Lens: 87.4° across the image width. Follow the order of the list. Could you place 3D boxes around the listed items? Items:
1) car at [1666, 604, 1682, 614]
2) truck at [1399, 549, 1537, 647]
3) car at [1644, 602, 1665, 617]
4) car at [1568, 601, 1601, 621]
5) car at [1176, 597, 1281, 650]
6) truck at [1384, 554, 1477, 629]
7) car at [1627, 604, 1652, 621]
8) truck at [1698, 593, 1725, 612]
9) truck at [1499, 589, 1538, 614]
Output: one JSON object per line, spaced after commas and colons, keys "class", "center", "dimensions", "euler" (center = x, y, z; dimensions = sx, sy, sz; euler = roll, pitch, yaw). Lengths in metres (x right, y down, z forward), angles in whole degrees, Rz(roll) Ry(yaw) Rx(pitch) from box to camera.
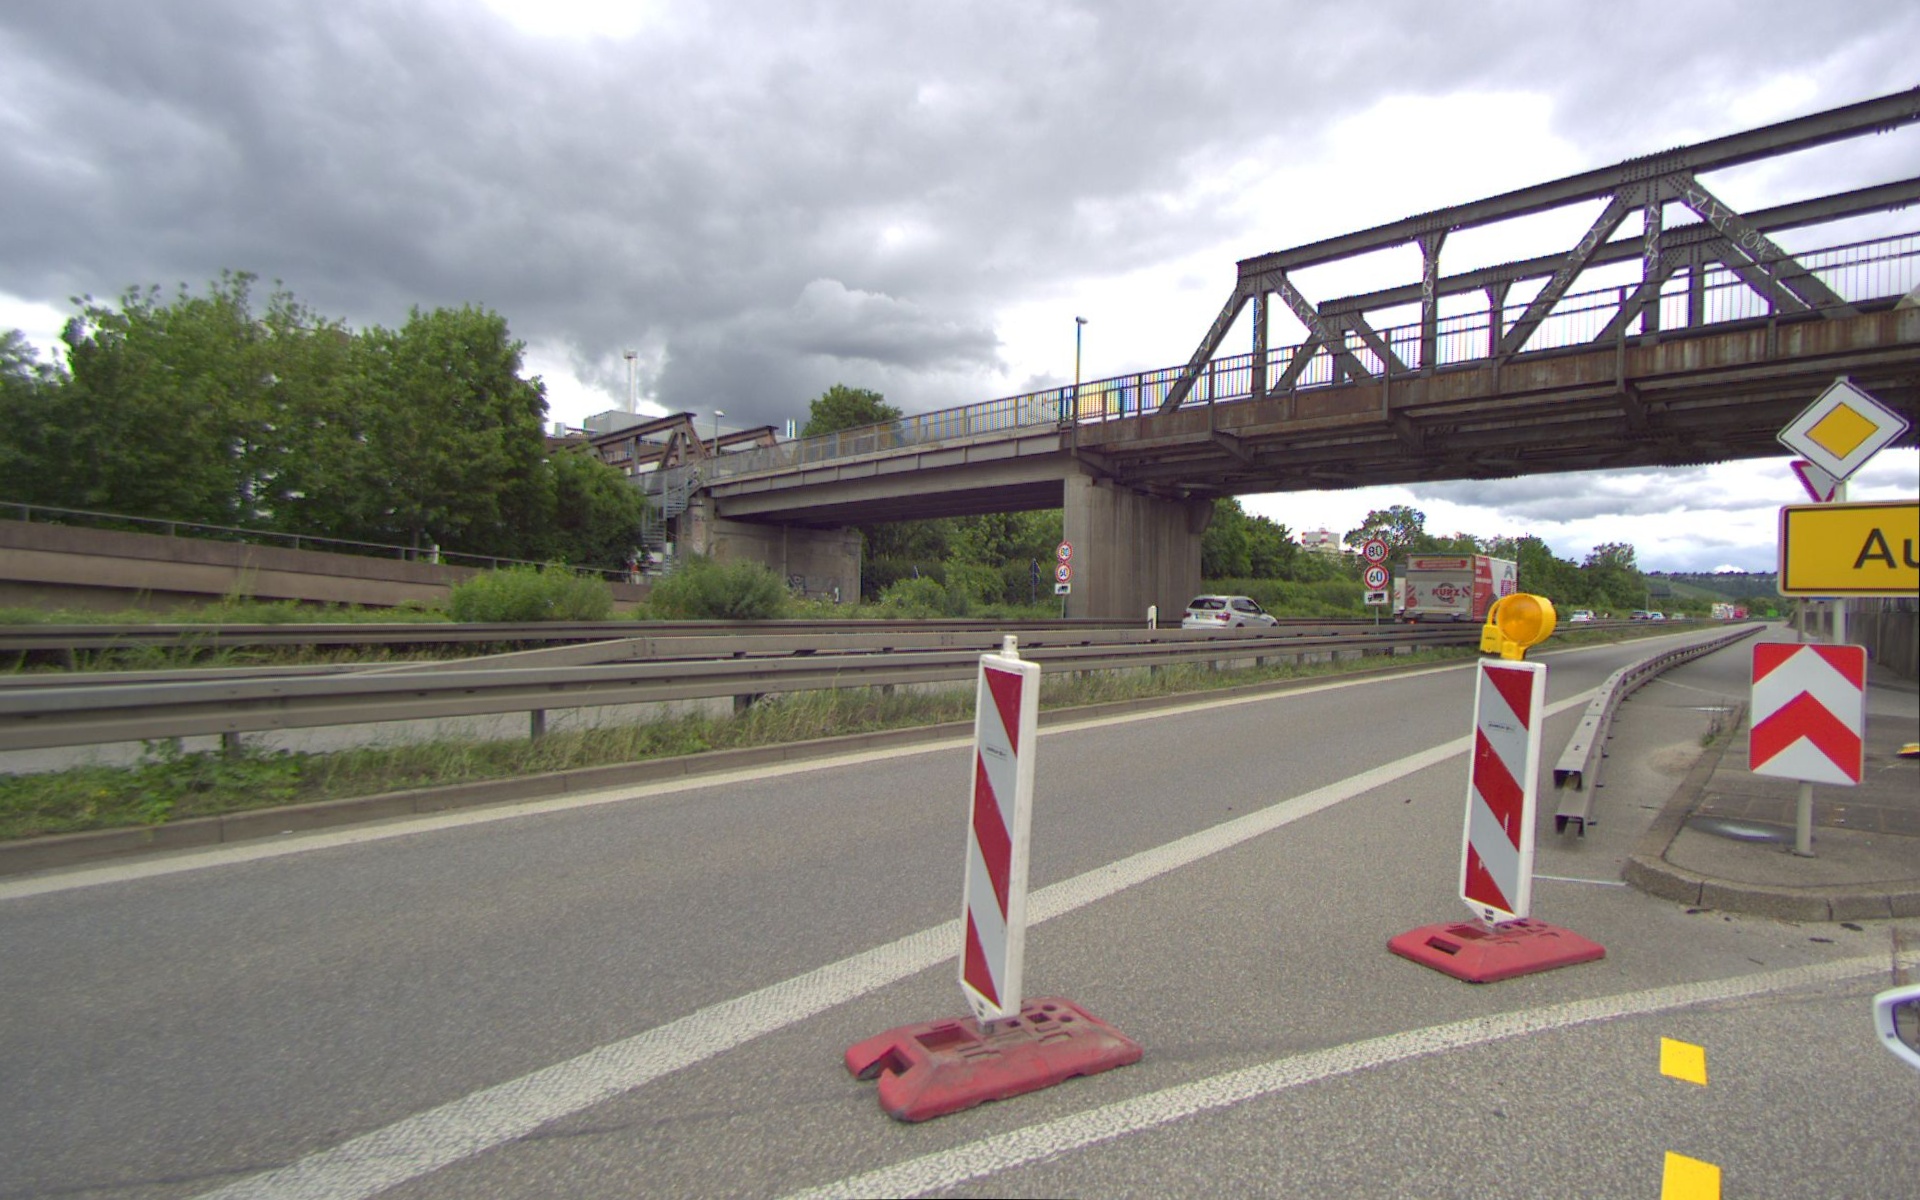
{"class": "car", "center": [113.837, 1.410, 160.077], "dimensions": [1.759, 1.617, 3.731], "euler": [1, 0, 41]}
{"class": "truck", "center": [21.683, -0.045, 42.504], "dimensions": [2.919, 3.678, 10.104], "euler": [1, 0, 40]}
{"class": "car", "center": [91.171, 1.212, 131.856], "dimensions": [1.969, 1.840, 3.983], "euler": [1, 0, 38]}
{"class": "car", "center": [55.836, 1.012, 89.769], "dimensions": [1.970, 1.782, 3.981], "euler": [-1, -1, 40]}
{"class": "car", "center": [9.119, 0.765, 33.880], "dimensions": [1.831, 1.662, 4.273], "euler": [1, 0, 39]}
{"class": "truck", "center": [24.817, -0.348, 52.750], "dimensions": [2.956, 3.603, 7.712], "euler": [-1, -1, 36]}
{"class": "car", "center": [73.969, 1.365, 109.333], "dimensions": [1.969, 1.782, 3.982], "euler": [-1, -1, 39]}
{"class": "truck", "center": [147.614, 0.525, 197.220], "dimensions": [3.677, 3.694, 7.688], "euler": [1, 0, 41]}
{"class": "truck", "center": [69.143, 0.233, 124.378], "dimensions": [2.470, 2.884, 7.211], "euler": [2, 1, 43]}
